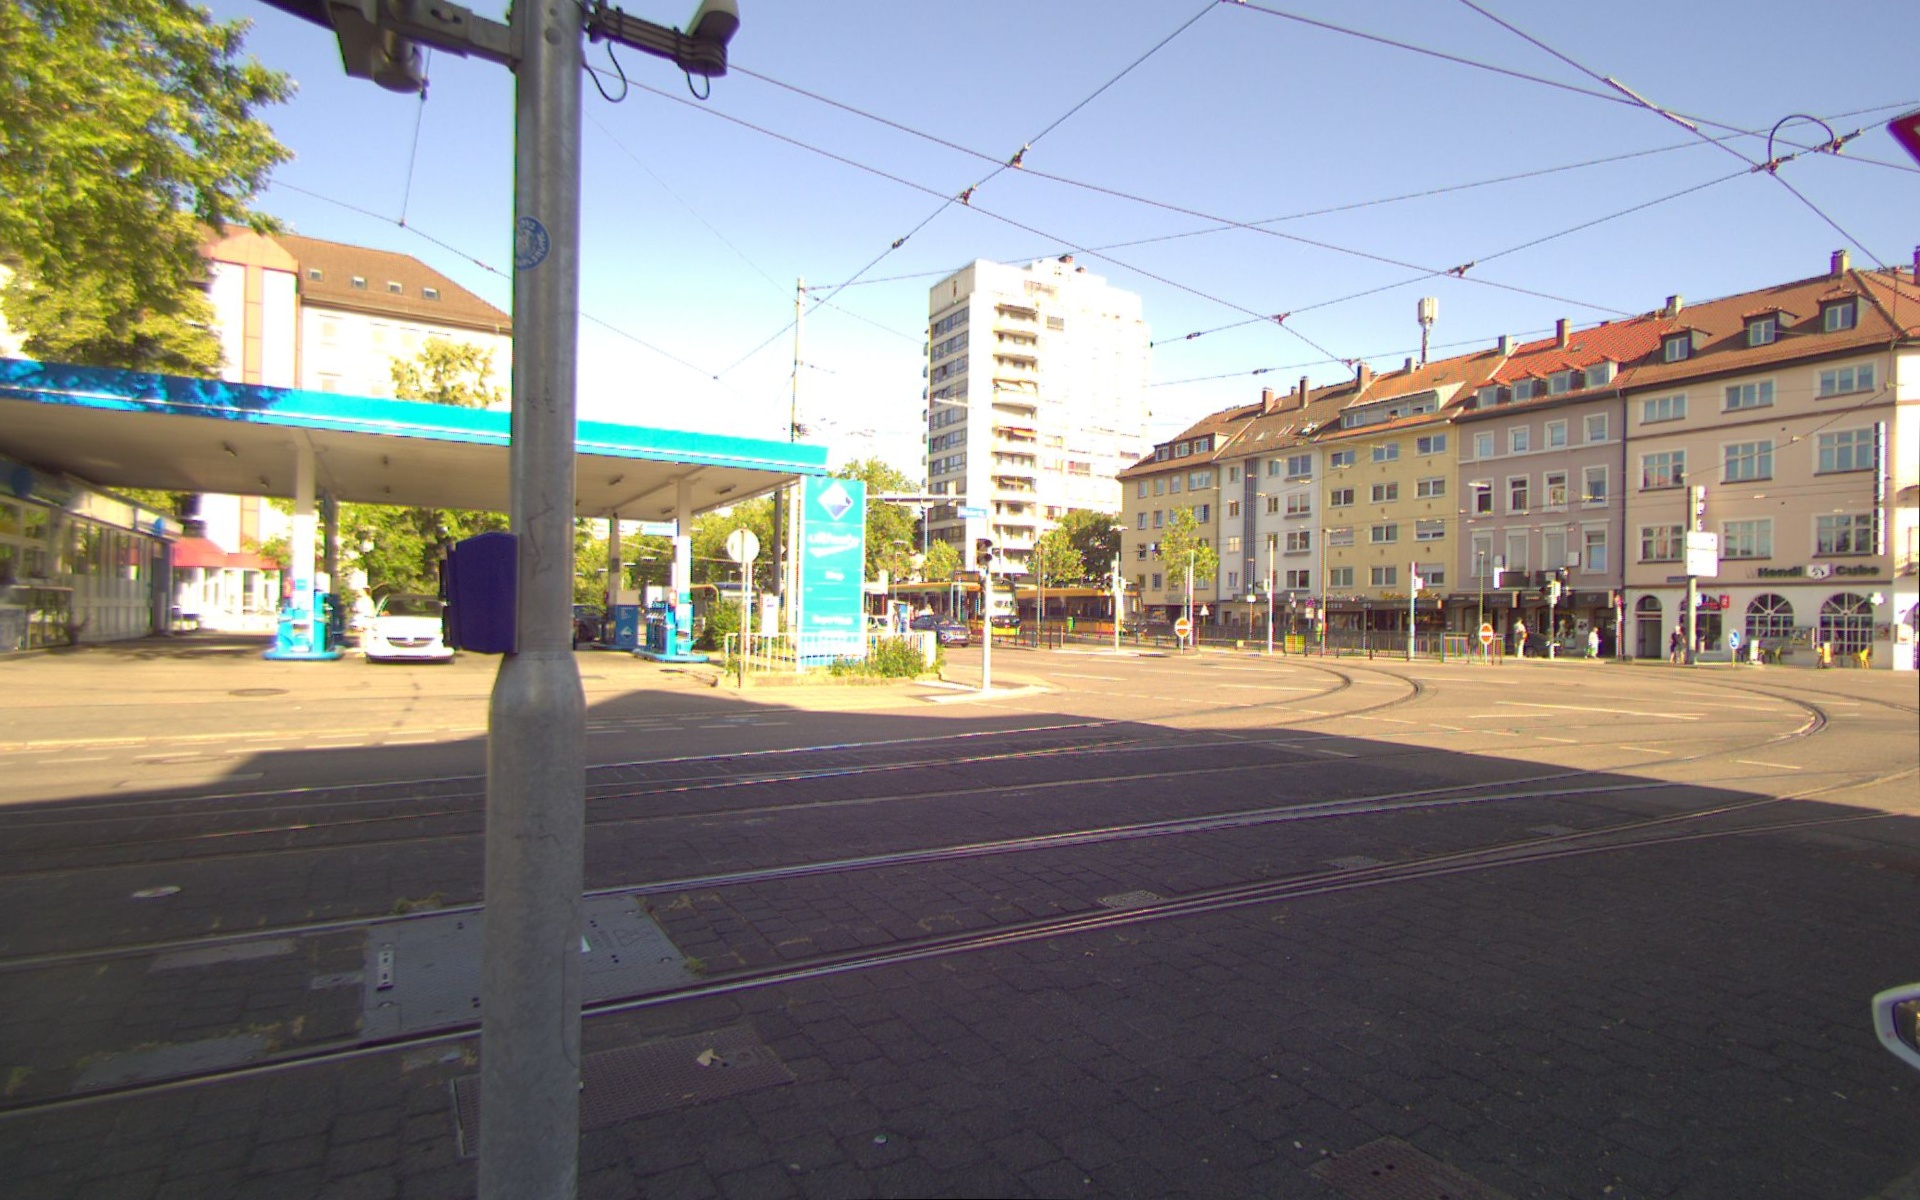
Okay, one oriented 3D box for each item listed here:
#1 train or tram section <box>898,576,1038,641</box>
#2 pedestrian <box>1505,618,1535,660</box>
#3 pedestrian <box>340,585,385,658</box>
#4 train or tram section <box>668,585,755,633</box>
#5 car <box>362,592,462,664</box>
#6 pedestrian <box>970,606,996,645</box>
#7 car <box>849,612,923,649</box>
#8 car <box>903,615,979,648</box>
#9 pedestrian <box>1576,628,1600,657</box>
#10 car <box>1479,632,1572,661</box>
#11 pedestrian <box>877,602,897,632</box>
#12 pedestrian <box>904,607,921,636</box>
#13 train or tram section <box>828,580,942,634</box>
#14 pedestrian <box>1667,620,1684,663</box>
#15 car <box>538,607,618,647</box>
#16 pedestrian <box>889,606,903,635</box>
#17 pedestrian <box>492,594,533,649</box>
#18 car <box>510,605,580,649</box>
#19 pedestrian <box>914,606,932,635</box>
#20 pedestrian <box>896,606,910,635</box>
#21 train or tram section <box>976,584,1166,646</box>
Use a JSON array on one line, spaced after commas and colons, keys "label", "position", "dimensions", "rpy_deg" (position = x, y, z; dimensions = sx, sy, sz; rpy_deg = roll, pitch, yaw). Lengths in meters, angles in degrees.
[{"label": "train or tram section", "position": [0.233, 0.516, 58.970], "dimensions": [3.252, 3.459, 10.157], "rpy_deg": [1, -1, -33]}, {"label": "pedestrian", "position": [24.498, 1.696, 43.962], "dimensions": [0.801, 1.842, 0.871], "rpy_deg": [1, -1, -29]}, {"label": "pedestrian", "position": [-13.905, 0.501, 23.390], "dimensions": [0.801, 1.652, 0.643], "rpy_deg": [1, -1, -24]}, {"label": "train or tram section", "position": [-15.028, 0.449, 60.046], "dimensions": [2.233, 2.627, 10.398], "rpy_deg": [2, 0, -30]}, {"label": "car", "position": [-12.269, 0.603, 22.440], "dimensions": [1.773, 1.461, 3.968], "rpy_deg": [2, -1, -30]}, {"label": "pedestrian", "position": [1.122, 1.232, 48.547], "dimensions": [0.902, 1.826, 0.887], "rpy_deg": [1, -1, -33]}, {"label": "car", "position": [-3.504, 1.392, 46.813], "dimensions": [1.976, 1.615, 3.970], "rpy_deg": [1, -1, -29]}, {"label": "car", "position": [-0.956, 1.490, 48.355], "dimensions": [1.937, 1.475, 4.077], "rpy_deg": [1, 0, -30]}, {"label": "pedestrian", "position": [34.393, 2.306, 54.986], "dimensions": [0.849, 1.547, 0.786], "rpy_deg": [1, -1, -29]}, {"label": "car", "position": [30.778, 2.498, 54.722], "dimensions": [1.980, 1.483, 3.962], "rpy_deg": [1, -1, -34]}, {"label": "pedestrian", "position": [-4.510, 1.075, 62.347], "dimensions": [0.902, 1.826, 0.887], "rpy_deg": [1, -1, -33]}, {"label": "pedestrian", "position": [-2.781, 1.246, 58.792], "dimensions": [0.710, 1.646, 0.702], "rpy_deg": [0, -1, 29]}, {"label": "train or tram section", "position": [-5.248, 0.519, 67.589], "dimensions": [3.252, 3.335, 10.157], "rpy_deg": [1, -1, -33]}, {"label": "pedestrian", "position": [34.213, 1.985, 48.027], "dimensions": [0.498, 2.040, 0.507], "rpy_deg": [1, -1, -27]}, {"label": "car", "position": [-17.201, 1.209, 45.389], "dimensions": [1.960, 1.685, 4.001], "rpy_deg": [1, -1, 2]}, {"label": "pedestrian", "position": [-3.675, 1.172, 57.802], "dimensions": [0.500, 1.646, 0.605], "rpy_deg": [0, -1, 30]}, {"label": "pedestrian", "position": [-15.077, 0.712, 33.828], "dimensions": [0.896, 1.826, 0.893], "rpy_deg": [0, -1, 34]}, {"label": "car", "position": [-13.499, 0.861, 32.584], "dimensions": [1.752, 1.332, 3.520], "rpy_deg": [1, -1, -28]}, {"label": "pedestrian", "position": [-2.121, 1.157, 57.579], "dimensions": [0.791, 1.646, 0.706], "rpy_deg": [1, -1, -33]}, {"label": "pedestrian", "position": [-3.290, 1.184, 57.730], "dimensions": [0.506, 1.646, 0.666], "rpy_deg": [0, -1, 30]}, {"label": "train or tram section", "position": [6.744, 0.961, 66.263], "dimensions": [3.275, 3.617, 16.451], "rpy_deg": [1, -1, -30]}]
